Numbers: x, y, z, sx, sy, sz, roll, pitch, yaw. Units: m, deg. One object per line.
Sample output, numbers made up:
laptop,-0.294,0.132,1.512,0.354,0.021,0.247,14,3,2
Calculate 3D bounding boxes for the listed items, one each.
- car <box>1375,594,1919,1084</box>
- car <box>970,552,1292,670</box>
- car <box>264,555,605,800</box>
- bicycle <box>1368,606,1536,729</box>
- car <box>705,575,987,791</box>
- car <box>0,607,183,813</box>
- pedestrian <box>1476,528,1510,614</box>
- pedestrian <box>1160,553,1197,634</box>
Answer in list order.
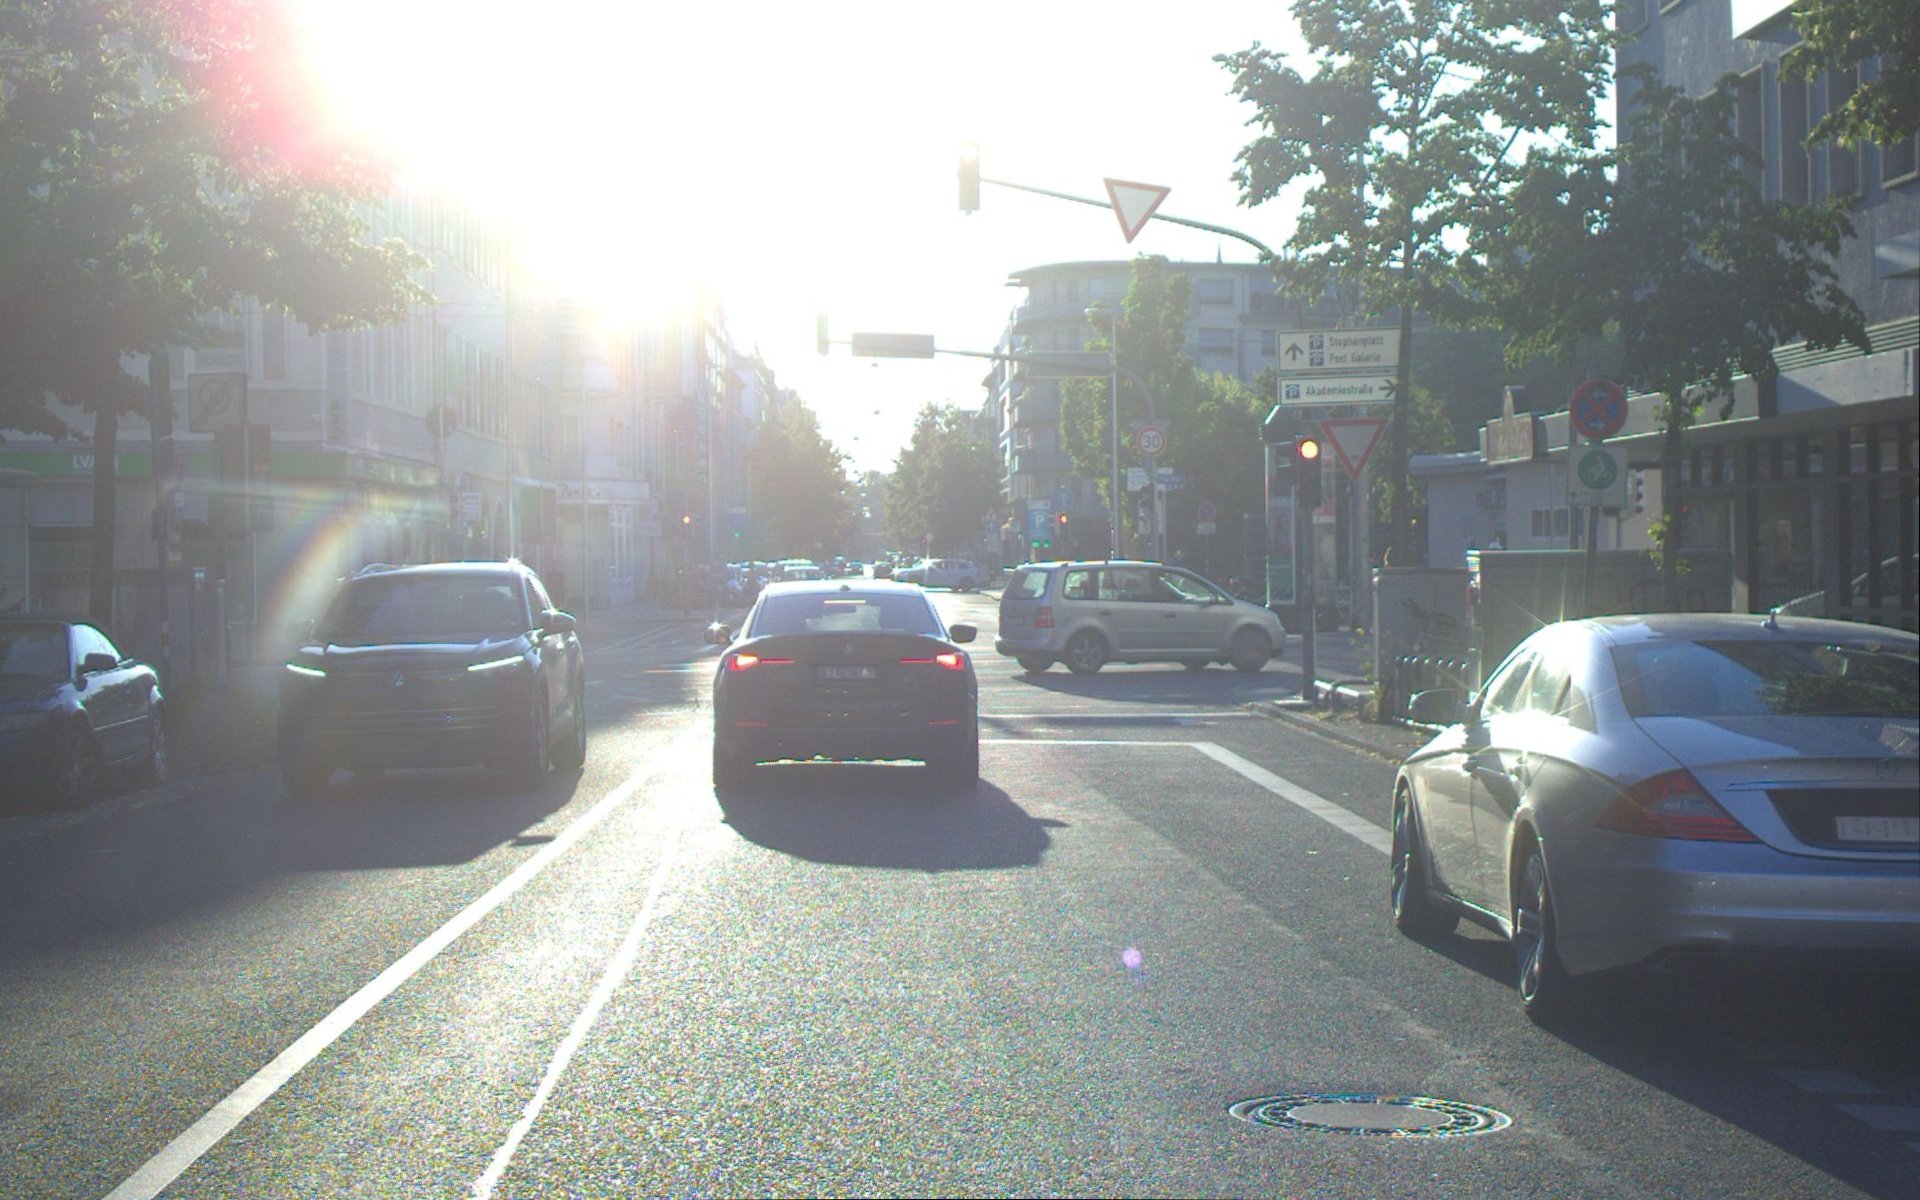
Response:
car,2.828,0.742,12.792,1.922,1.410,4.548,2,1,-1
car,2.503,0.130,50.237,4.310,1.596,1.929,-1,2,-26
car,-3.811,0.504,25.635,1.922,1.596,4.325,0,2,-1
bicycle,4.734,0.647,33.098,1.538,1.142,0.381,1,2,0
car,-0.790,0.542,25.175,1.883,1.410,4.325,0,1,-1
car,-6.882,0.728,24.646,1.833,1.323,4.124,0,0,-2
pedestrian,10.714,-0.587,69.109,0.494,1.709,0.462,-1,2,-21
pedestrian,4.470,-0.139,70.287,0.573,1.639,0.528,-1,2,-22
